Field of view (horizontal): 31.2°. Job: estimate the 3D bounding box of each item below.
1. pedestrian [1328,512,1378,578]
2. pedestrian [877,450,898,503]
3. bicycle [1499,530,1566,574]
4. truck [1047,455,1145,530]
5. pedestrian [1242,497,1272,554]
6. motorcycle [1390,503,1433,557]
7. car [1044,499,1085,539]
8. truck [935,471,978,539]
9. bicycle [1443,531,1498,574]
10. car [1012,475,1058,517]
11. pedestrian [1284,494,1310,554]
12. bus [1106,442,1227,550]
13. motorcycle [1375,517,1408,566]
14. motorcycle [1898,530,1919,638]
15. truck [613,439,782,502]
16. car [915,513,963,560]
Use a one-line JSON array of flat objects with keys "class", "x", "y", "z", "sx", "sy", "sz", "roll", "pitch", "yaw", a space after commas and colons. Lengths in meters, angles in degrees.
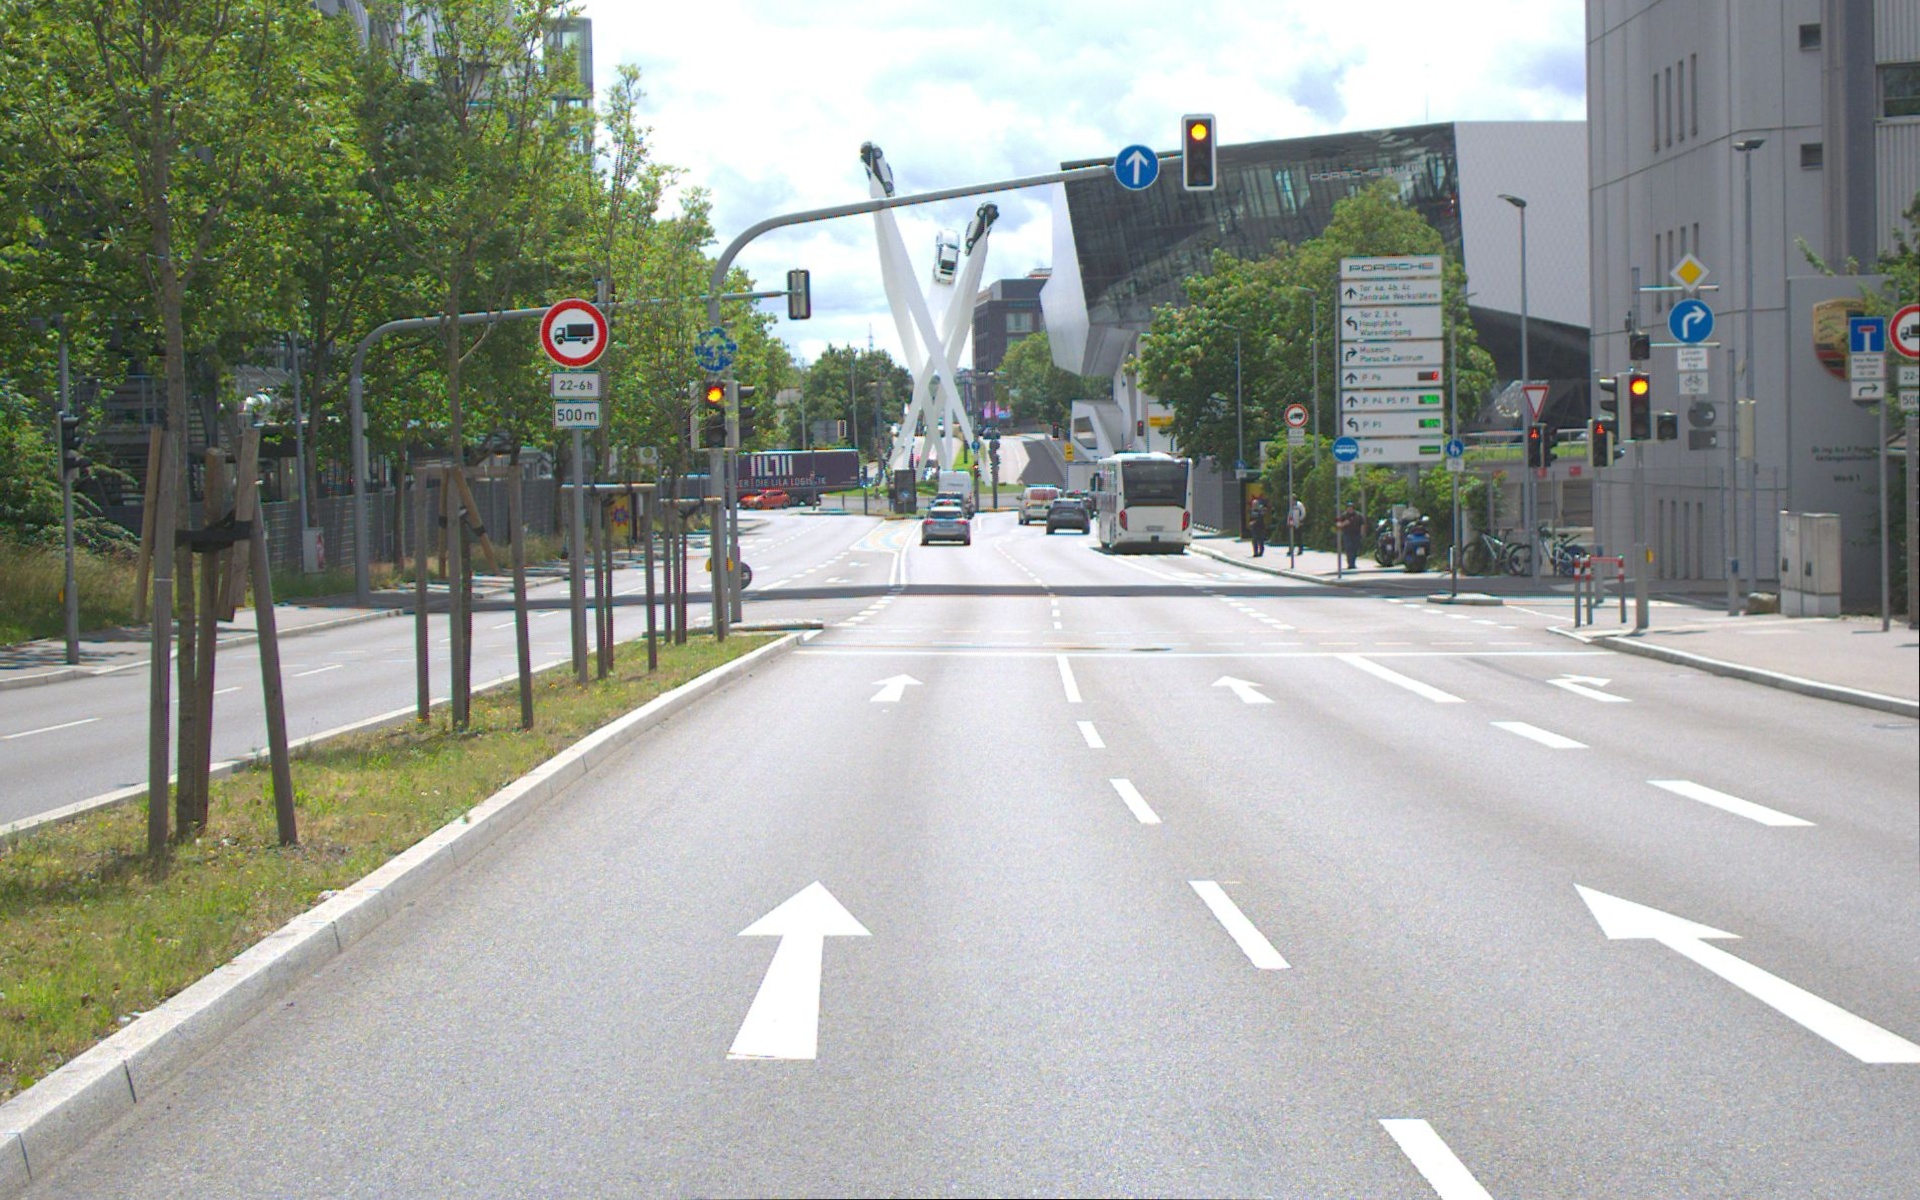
[{"class": "pedestrian", "x": 9.786, "y": -1.374, "z": 85.576, "sx": 0.849, "sy": 1.619, "sz": 0.954, "roll": 1, "pitch": 2, "yaw": 42}, {"class": "pedestrian", "x": -4.993, "y": -8.522, "z": 237.289, "sx": 1.416, "sy": 3.588, "sz": 1.283, "roll": 0, "pitch": 1, "yaw": -1}, {"class": "bicycle", "x": 12.354, "y": -1.036, "z": 74.212, "sx": 0.397, "sy": 0.933, "sz": 1.929, "roll": 0, "pitch": 1, "yaw": -25}, {"class": "truck", "x": 8.251, "y": -6.441, "z": 207.015, "sx": 3.455, "sy": 4.376, "sz": 9.412, "roll": 0, "pitch": 1, "yaw": 18}, {"class": "pedestrian", "x": 8.834, "y": -2.225, "z": 102.414, "sx": 0.820, "sy": 1.701, "sz": 0.881, "roll": 0, "pitch": 1, "yaw": 1}, {"class": "motorcycle", "x": 10.539, "y": -1.636, "z": 80.306, "sx": 0.706, "sy": 1.199, "sz": 2.024, "roll": -2, "pitch": 2, "yaw": 1}, {"class": "car", "x": 4.568, "y": -3.549, "z": 150.780, "sx": 1.738, "sy": 1.735, "sz": 3.691, "roll": 0, "pitch": 1, "yaw": 1}, {"class": "truck", "x": -0.186, "y": -5.512, "z": 199.104, "sx": 2.392, "sy": 3.884, "sz": 6.177, "roll": 0, "pitch": 1, "yaw": 1}, {"class": "bicycle", "x": 11.354, "y": -1.068, "z": 76.521, "sx": 0.397, "sy": 0.933, "sz": 1.929, "roll": 0, "pitch": 1, "yaw": -18}, {"class": "car", "x": 3.867, "y": -5.349, "z": 177.578, "sx": 1.993, "sy": 2.007, "sz": 4.000, "roll": 1, "pitch": 0, "yaw": -4}, {"class": "pedestrian", "x": 9.959, "y": -2.244, "z": 101.483, "sx": 0.635, "sy": 1.735, "sz": 0.823, "roll": 0, "pitch": 1, "yaw": -3}, {"class": "bus", "x": 7.022, "y": -3.546, "z": 118.335, "sx": 3.452, "sy": 3.531, "sz": 10.607, "roll": 0, "pitch": 1, "yaw": 0}, {"class": "motorcycle", "x": 11.077, "y": -1.517, "z": 88.306, "sx": 0.574, "sy": 1.199, "sz": 2.024, "roll": -2, "pitch": 2, "yaw": 1}, {"class": "motorcycle", "x": 10.663, "y": -0.167, "z": 36.416, "sx": 0.692, "sy": 1.154, "sz": 2.148, "roll": -2, "pitch": 1, "yaw": -4}, {"class": "truck", "x": -19.792, "y": -9.746, "z": 259.477, "sx": 12.125, "sy": 4.309, "sz": 3.575, "roll": 1, "pitch": 0, "yaw": -25}, {"class": "car", "x": -0.776, "y": -2.395, "z": 129.084, "sx": 1.738, "sy": 1.735, "sz": 3.691, "roll": 0, "pitch": 1, "yaw": 1}]
